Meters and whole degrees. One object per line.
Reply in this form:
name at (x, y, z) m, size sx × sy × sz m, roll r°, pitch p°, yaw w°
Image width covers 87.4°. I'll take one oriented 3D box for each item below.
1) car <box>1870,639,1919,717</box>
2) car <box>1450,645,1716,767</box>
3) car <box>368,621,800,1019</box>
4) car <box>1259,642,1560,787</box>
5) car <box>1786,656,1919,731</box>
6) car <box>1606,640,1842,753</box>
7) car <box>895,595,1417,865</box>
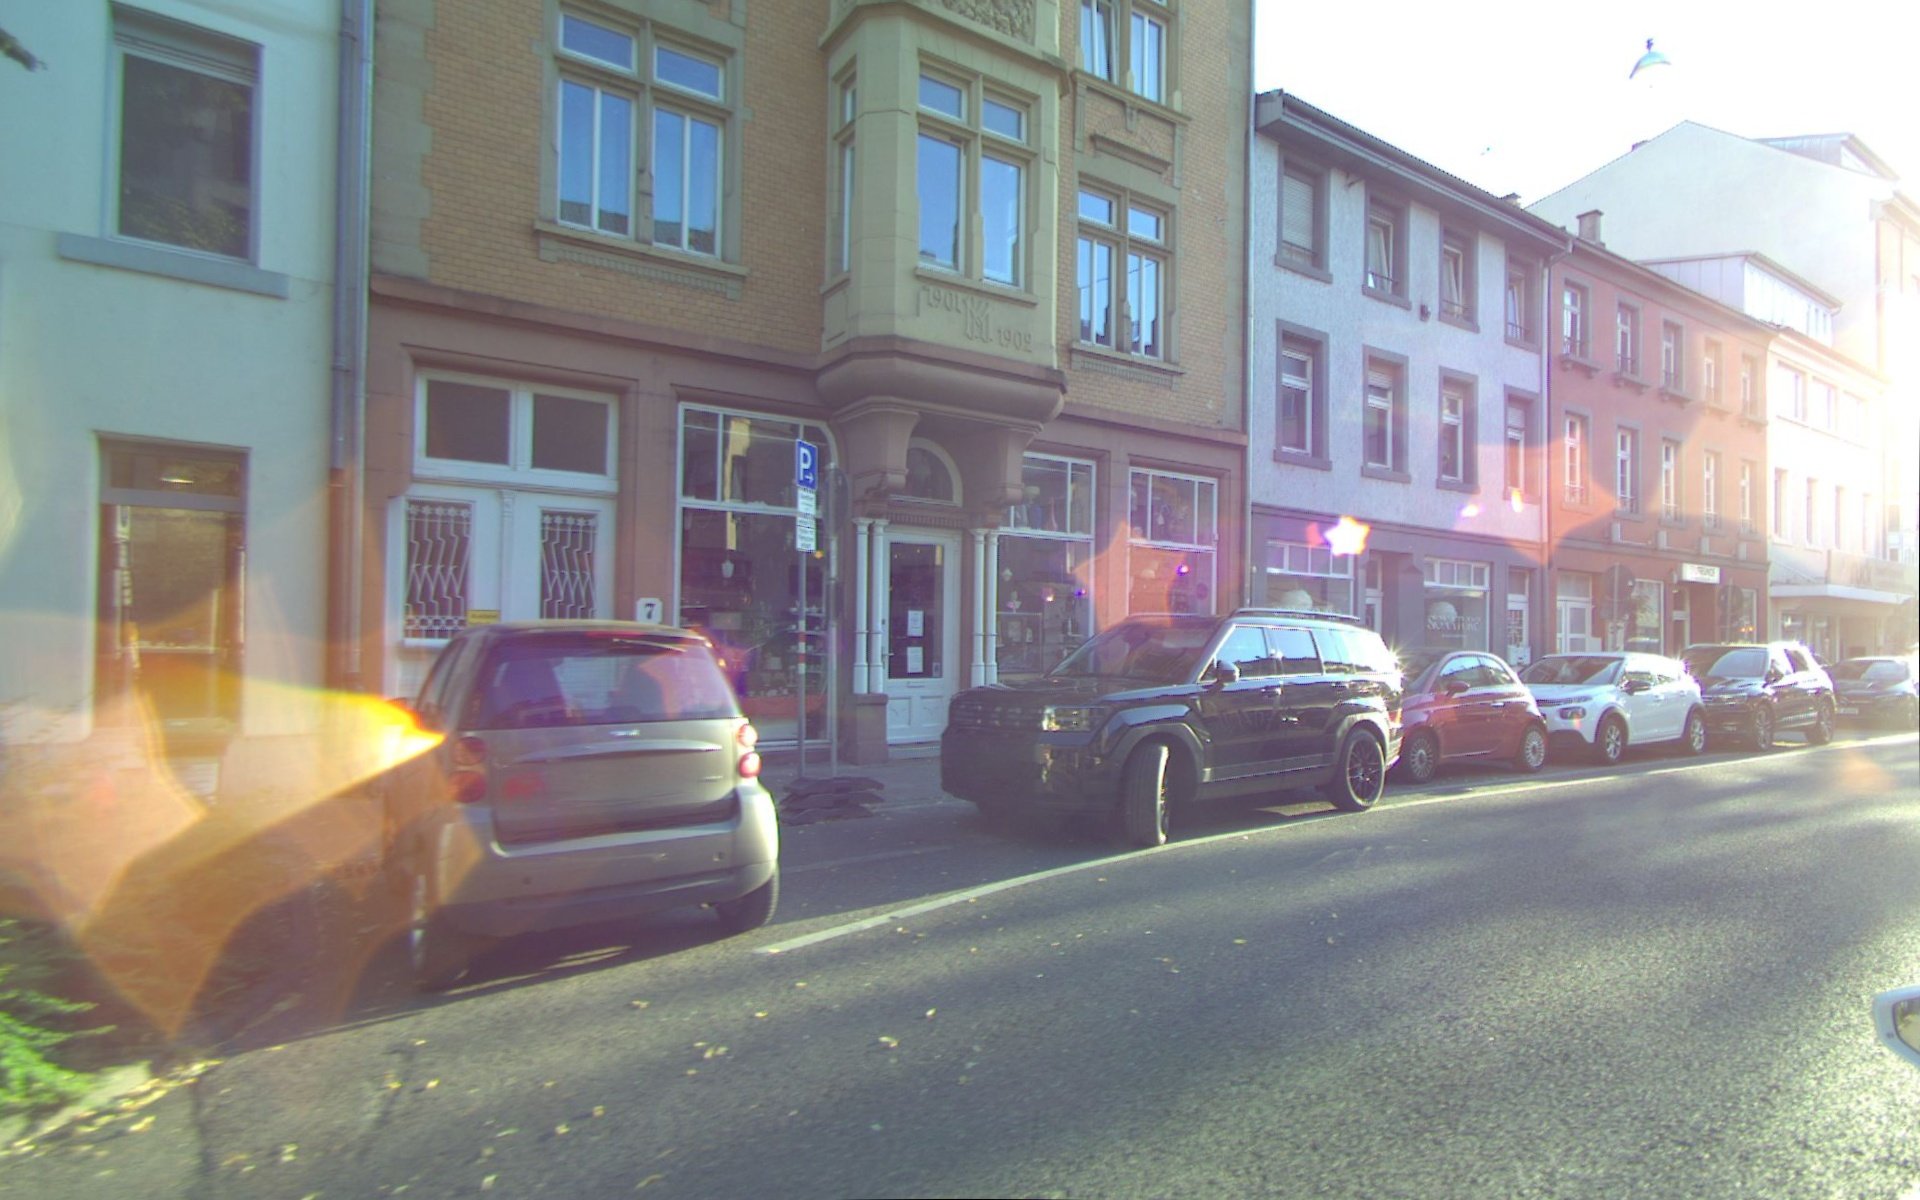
car at (24.888, 1.920, 25.299) m, size 5.296 × 1.834 × 1.815 m, roll 2°, pitch -3°, yaw -35°
car at (9.018, 1.432, 14.481) m, size 3.907 × 1.534 × 1.764 m, roll 2°, pitch -3°, yaw -33°
car at (-2.182, 0.924, 5.474) m, size 1.557 × 1.540 × 2.676 m, roll 1°, pitch -3°, yaw -36°
car at (5.550, 1.330, 12.351) m, size 3.447 × 1.534 × 1.764 m, roll 2°, pitch -5°, yaw -33°
car at (19.714, 1.937, 21.688) m, size 4.264 × 1.459 × 1.703 m, roll 2°, pitch -3°, yaw -33°
car at (12.668, 1.510, 16.606) m, size 4.192 × 1.654 × 1.764 m, roll 2°, pitch -4°, yaw -33°
car at (1.887, 0.968, 8.742) m, size 4.661 × 1.751 × 1.890 m, roll 3°, pitch -4°, yaw -38°
